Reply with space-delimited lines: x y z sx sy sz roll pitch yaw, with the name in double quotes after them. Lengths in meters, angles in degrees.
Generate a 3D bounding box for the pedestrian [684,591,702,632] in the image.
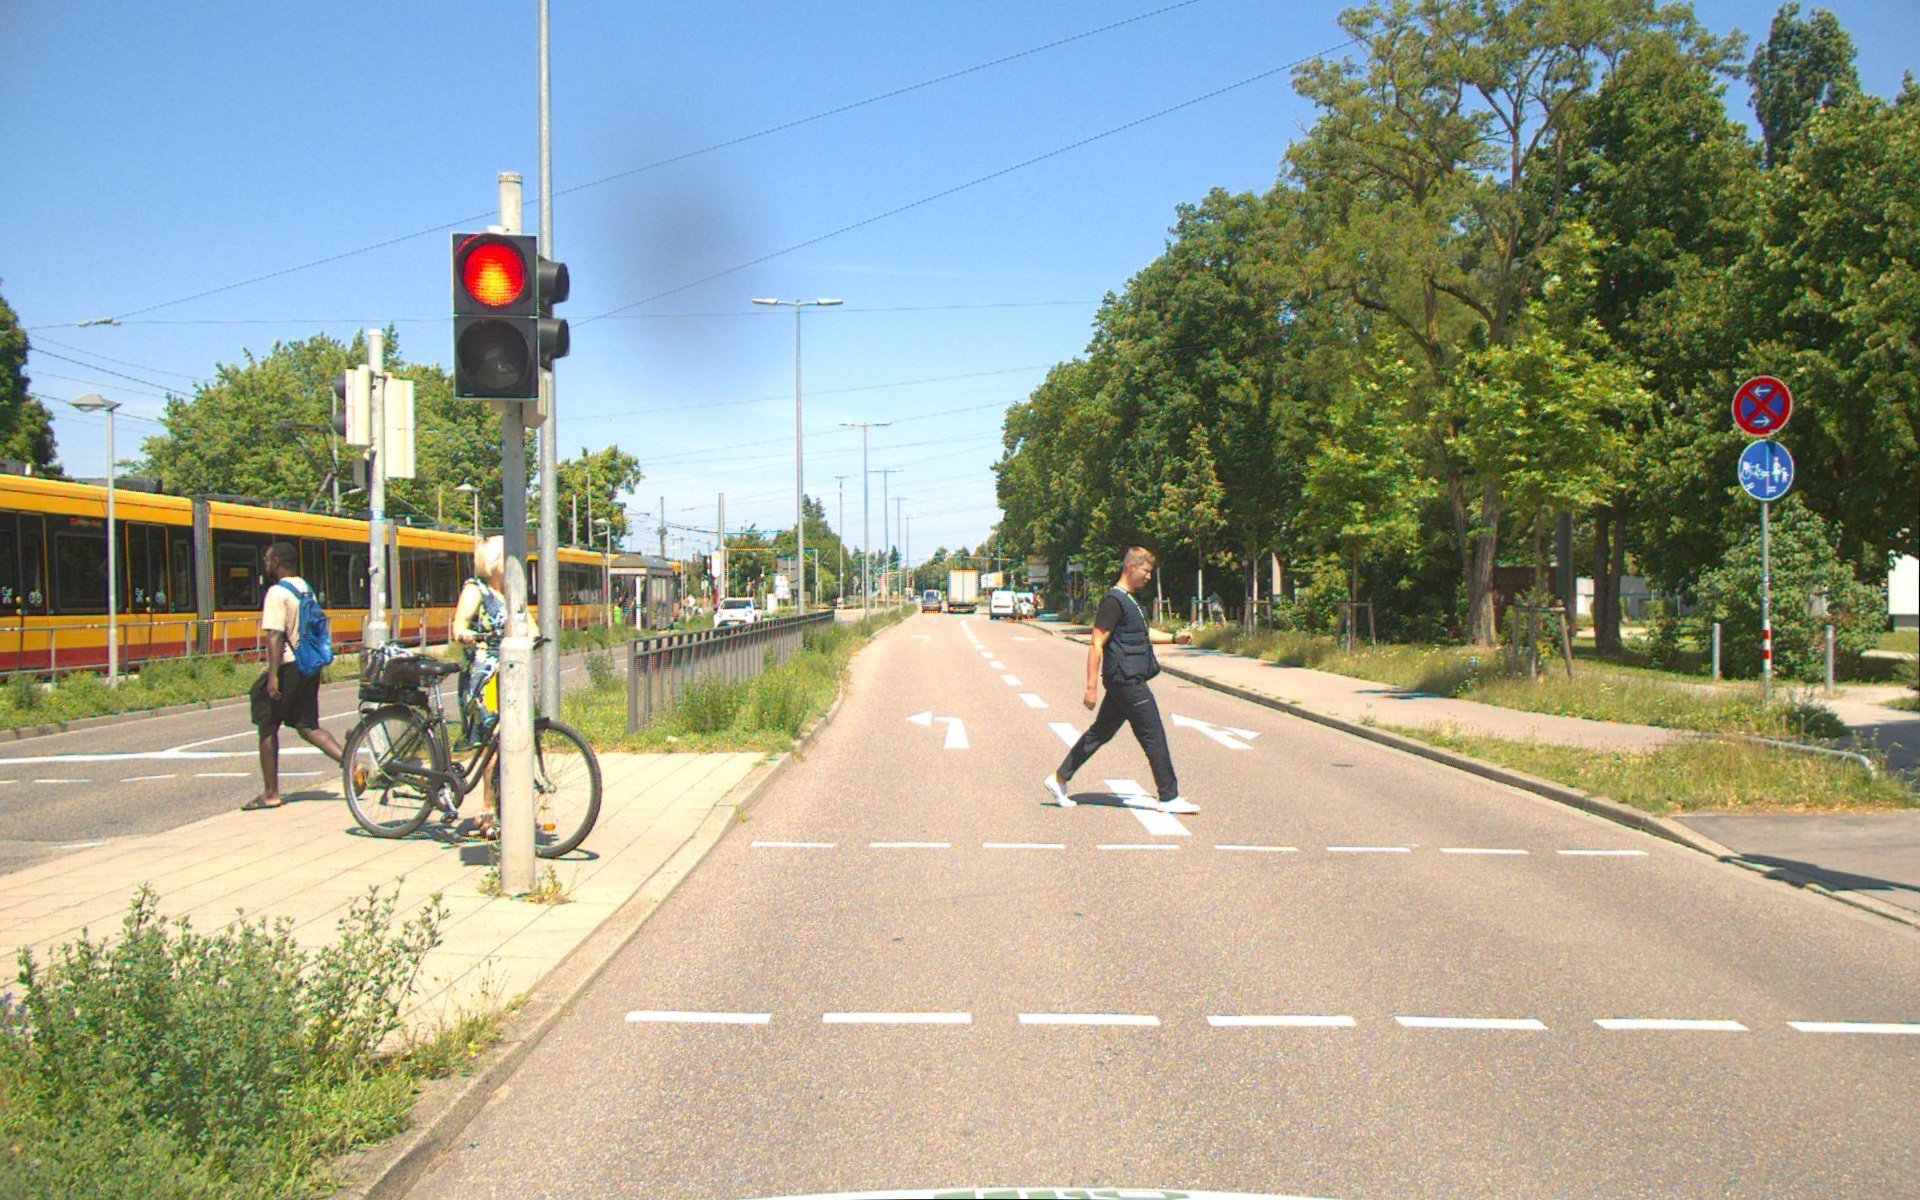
-13.465 0.583 83.438 0.798 2.049 0.938 0 0 -1 "pedestrian"

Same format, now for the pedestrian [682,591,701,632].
-13.742 0.584 84.727 0.798 2.049 0.938 0 0 -1 "pedestrian"

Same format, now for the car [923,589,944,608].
-2.606 -0.134 163.413 1.953 1.847 3.999 1 0 -1 "car"

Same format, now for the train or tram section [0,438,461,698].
-15.676 -0.494 32.752 2.897 3.815 30.027 0 0 -1 "train or tram section"

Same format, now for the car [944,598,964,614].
-0.588 0.553 153.598 1.774 1.490 3.999 0 0 -1 "car"

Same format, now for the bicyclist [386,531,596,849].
-2.655 0.476 9.389 0.937 1.695 0.581 3 2 17 "bicyclist"

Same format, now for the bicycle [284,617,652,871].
-2.683 0.746 9.011 1.916 1.181 0.541 3 2 17 "bicycle"

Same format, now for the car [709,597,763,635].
-9.318 0.647 69.020 1.807 1.521 3.790 0 0 -1 "car"

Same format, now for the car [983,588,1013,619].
2.396 0.212 105.613 1.743 1.937 3.999 0 0 -1 "car"

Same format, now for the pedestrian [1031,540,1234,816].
1.207 0.522 11.518 1.162 1.809 0.838 0 -2 30 "pedestrian"

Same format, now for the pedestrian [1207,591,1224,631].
9.335 0.389 60.375 0.591 1.463 0.556 0 0 6 "pedestrian"

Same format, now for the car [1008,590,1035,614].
4.408 0.110 118.852 1.743 1.698 3.999 0 0 -1 "car"

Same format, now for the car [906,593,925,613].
-4.694 0.322 175.087 1.953 2.049 3.999 0 0 -1 "car"

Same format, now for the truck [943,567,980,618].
0.073 -0.651 146.120 3.140 4.435 6.559 0 0 -1 "truck"

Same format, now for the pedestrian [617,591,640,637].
-13.849 0.586 69.080 0.769 1.901 0.817 0 0 -1 "pedestrian"

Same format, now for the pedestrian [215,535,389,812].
-4.504 0.478 11.380 0.823 1.808 0.720 -2 2 -1 "pedestrian"

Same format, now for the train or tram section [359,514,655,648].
-16.132 -0.605 64.302 2.871 3.856 33.081 0 0 -1 "train or tram section"

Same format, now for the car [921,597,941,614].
-2.588 0.474 149.600 1.774 1.490 3.999 0 0 -1 "car"

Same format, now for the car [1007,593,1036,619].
4.183 0.391 112.501 1.743 1.698 3.999 0 0 -1 "car"
